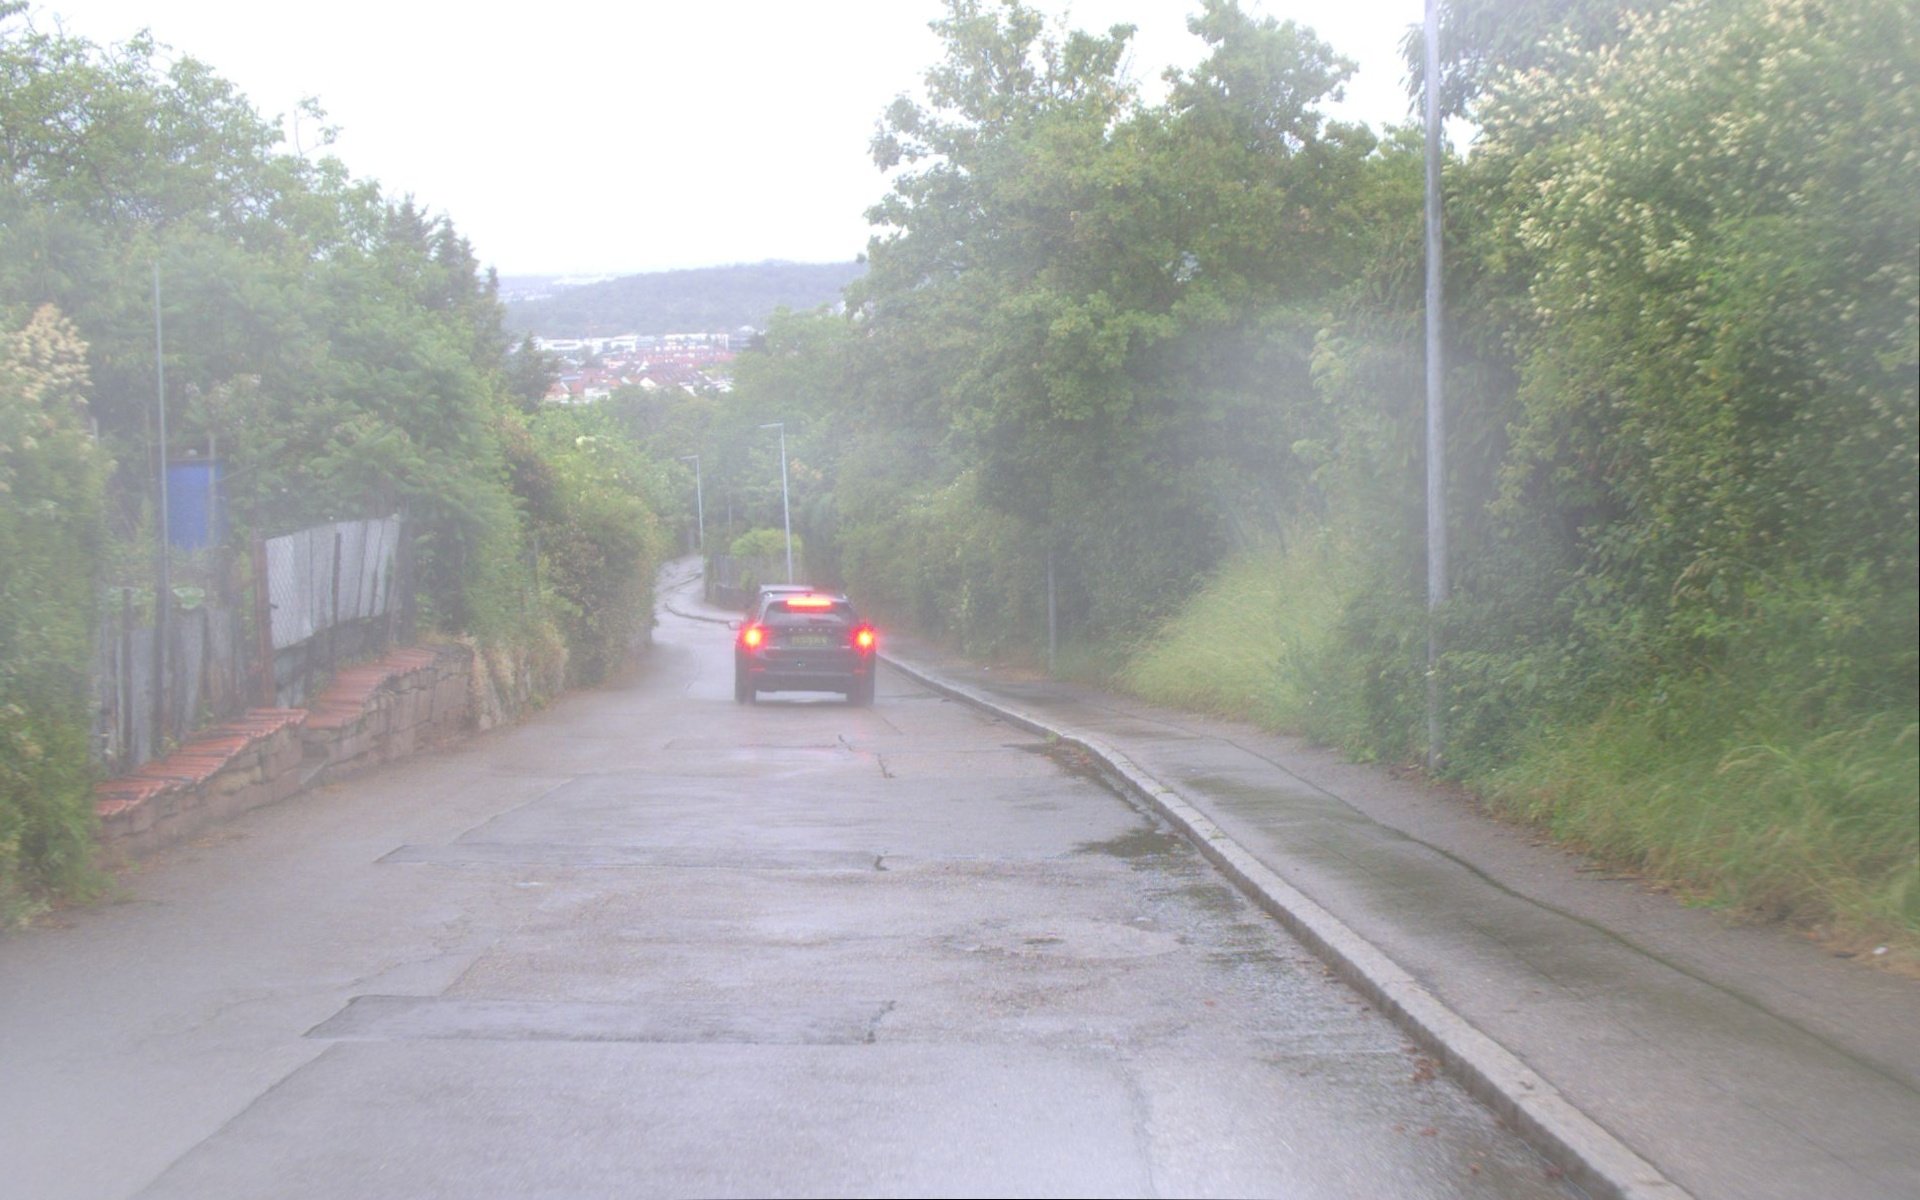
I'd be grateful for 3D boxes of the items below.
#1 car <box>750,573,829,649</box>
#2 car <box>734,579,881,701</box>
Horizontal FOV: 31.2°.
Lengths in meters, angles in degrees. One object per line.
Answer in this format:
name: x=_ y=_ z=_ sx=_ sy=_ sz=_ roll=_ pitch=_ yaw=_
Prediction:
car: x=-3.819 y=0.235 z=77.412 sx=1.678 sy=1.560 sz=3.795 roll=0 pitch=2 yaw=-1
car: x=-2.034 y=0.496 z=45.424 sx=1.834 sy=1.459 sz=4.001 roll=1 pitch=1 yaw=-3
